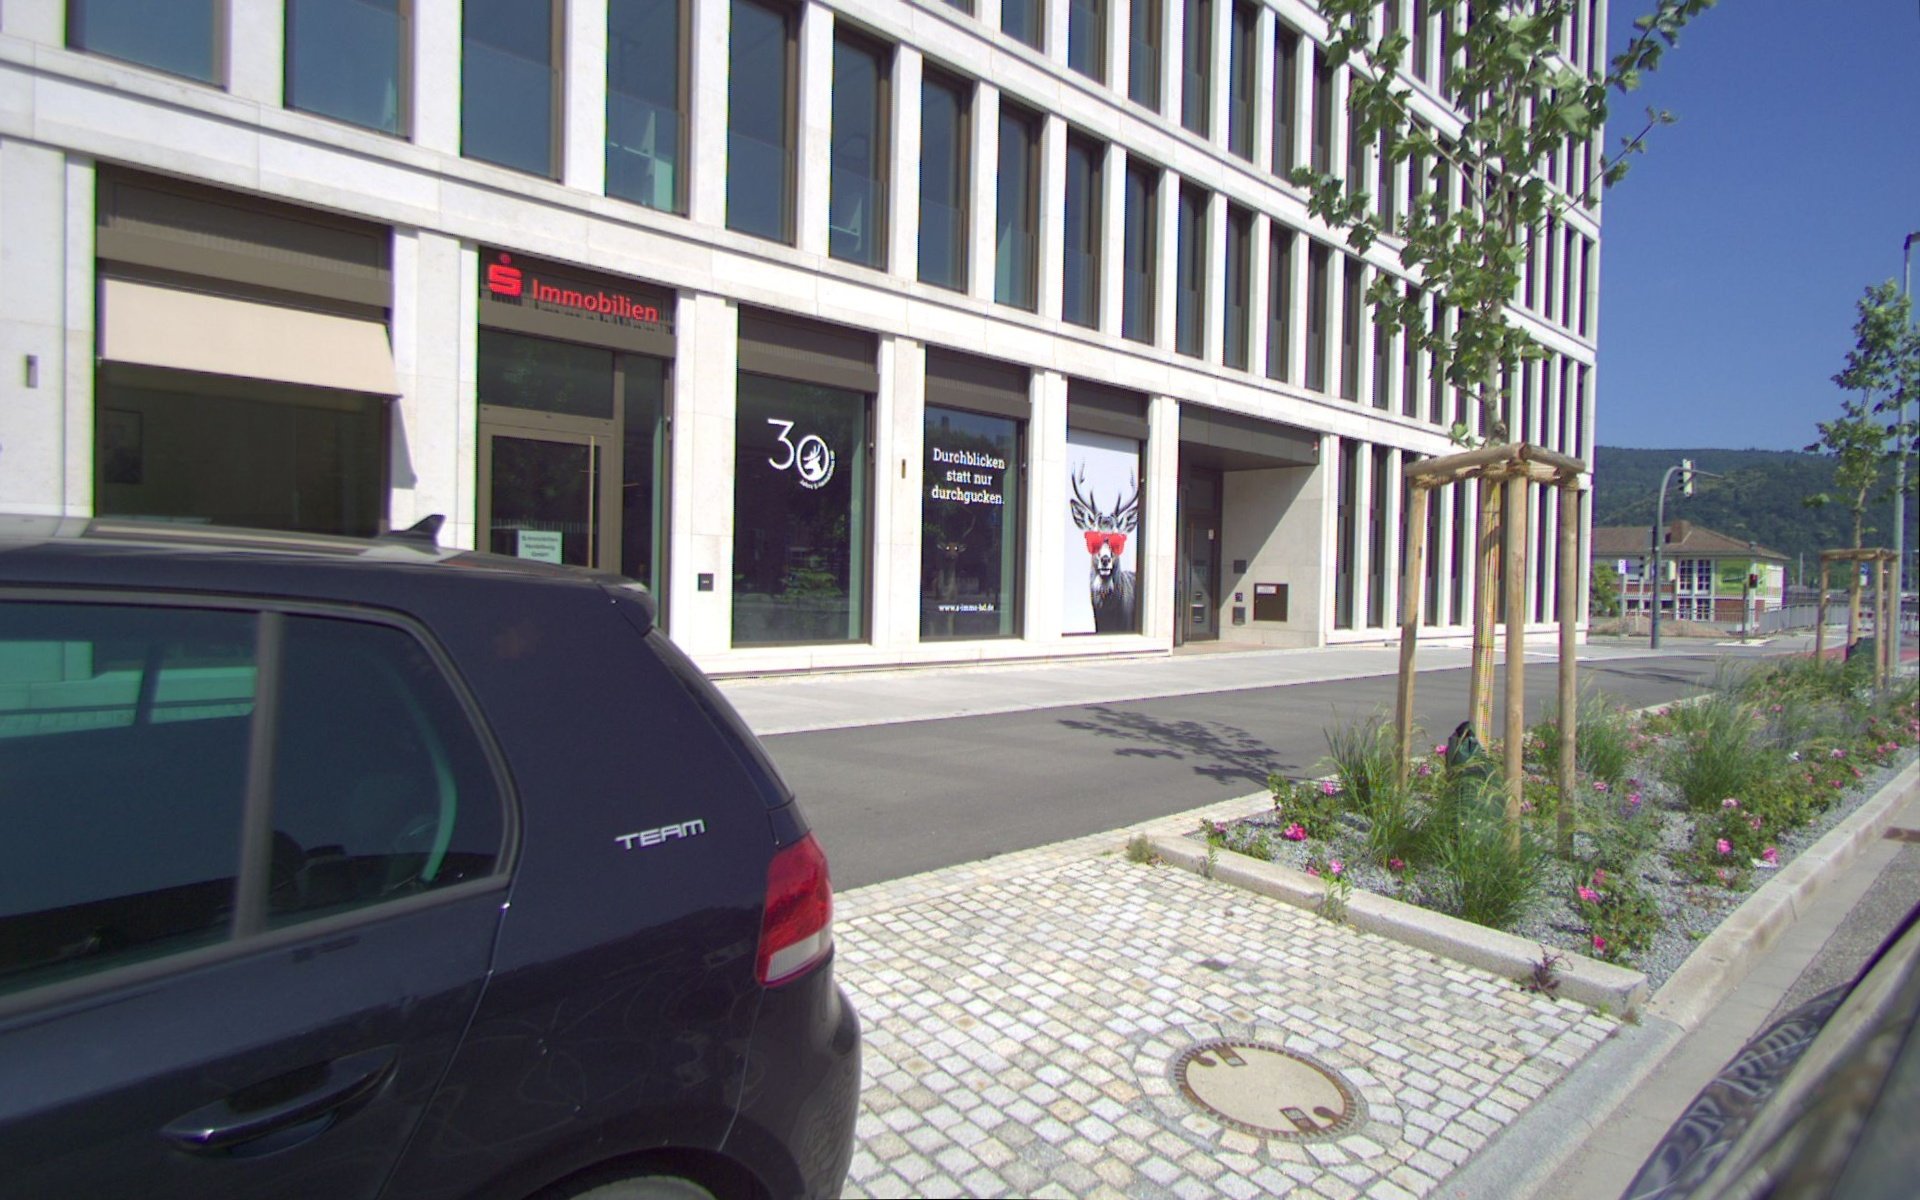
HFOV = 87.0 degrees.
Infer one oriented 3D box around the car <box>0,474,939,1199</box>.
[{"bbox_3d":[-2.053,0.575,0.989,3.915,1.492,1.738,0,4,-45],"label":"car"}]
